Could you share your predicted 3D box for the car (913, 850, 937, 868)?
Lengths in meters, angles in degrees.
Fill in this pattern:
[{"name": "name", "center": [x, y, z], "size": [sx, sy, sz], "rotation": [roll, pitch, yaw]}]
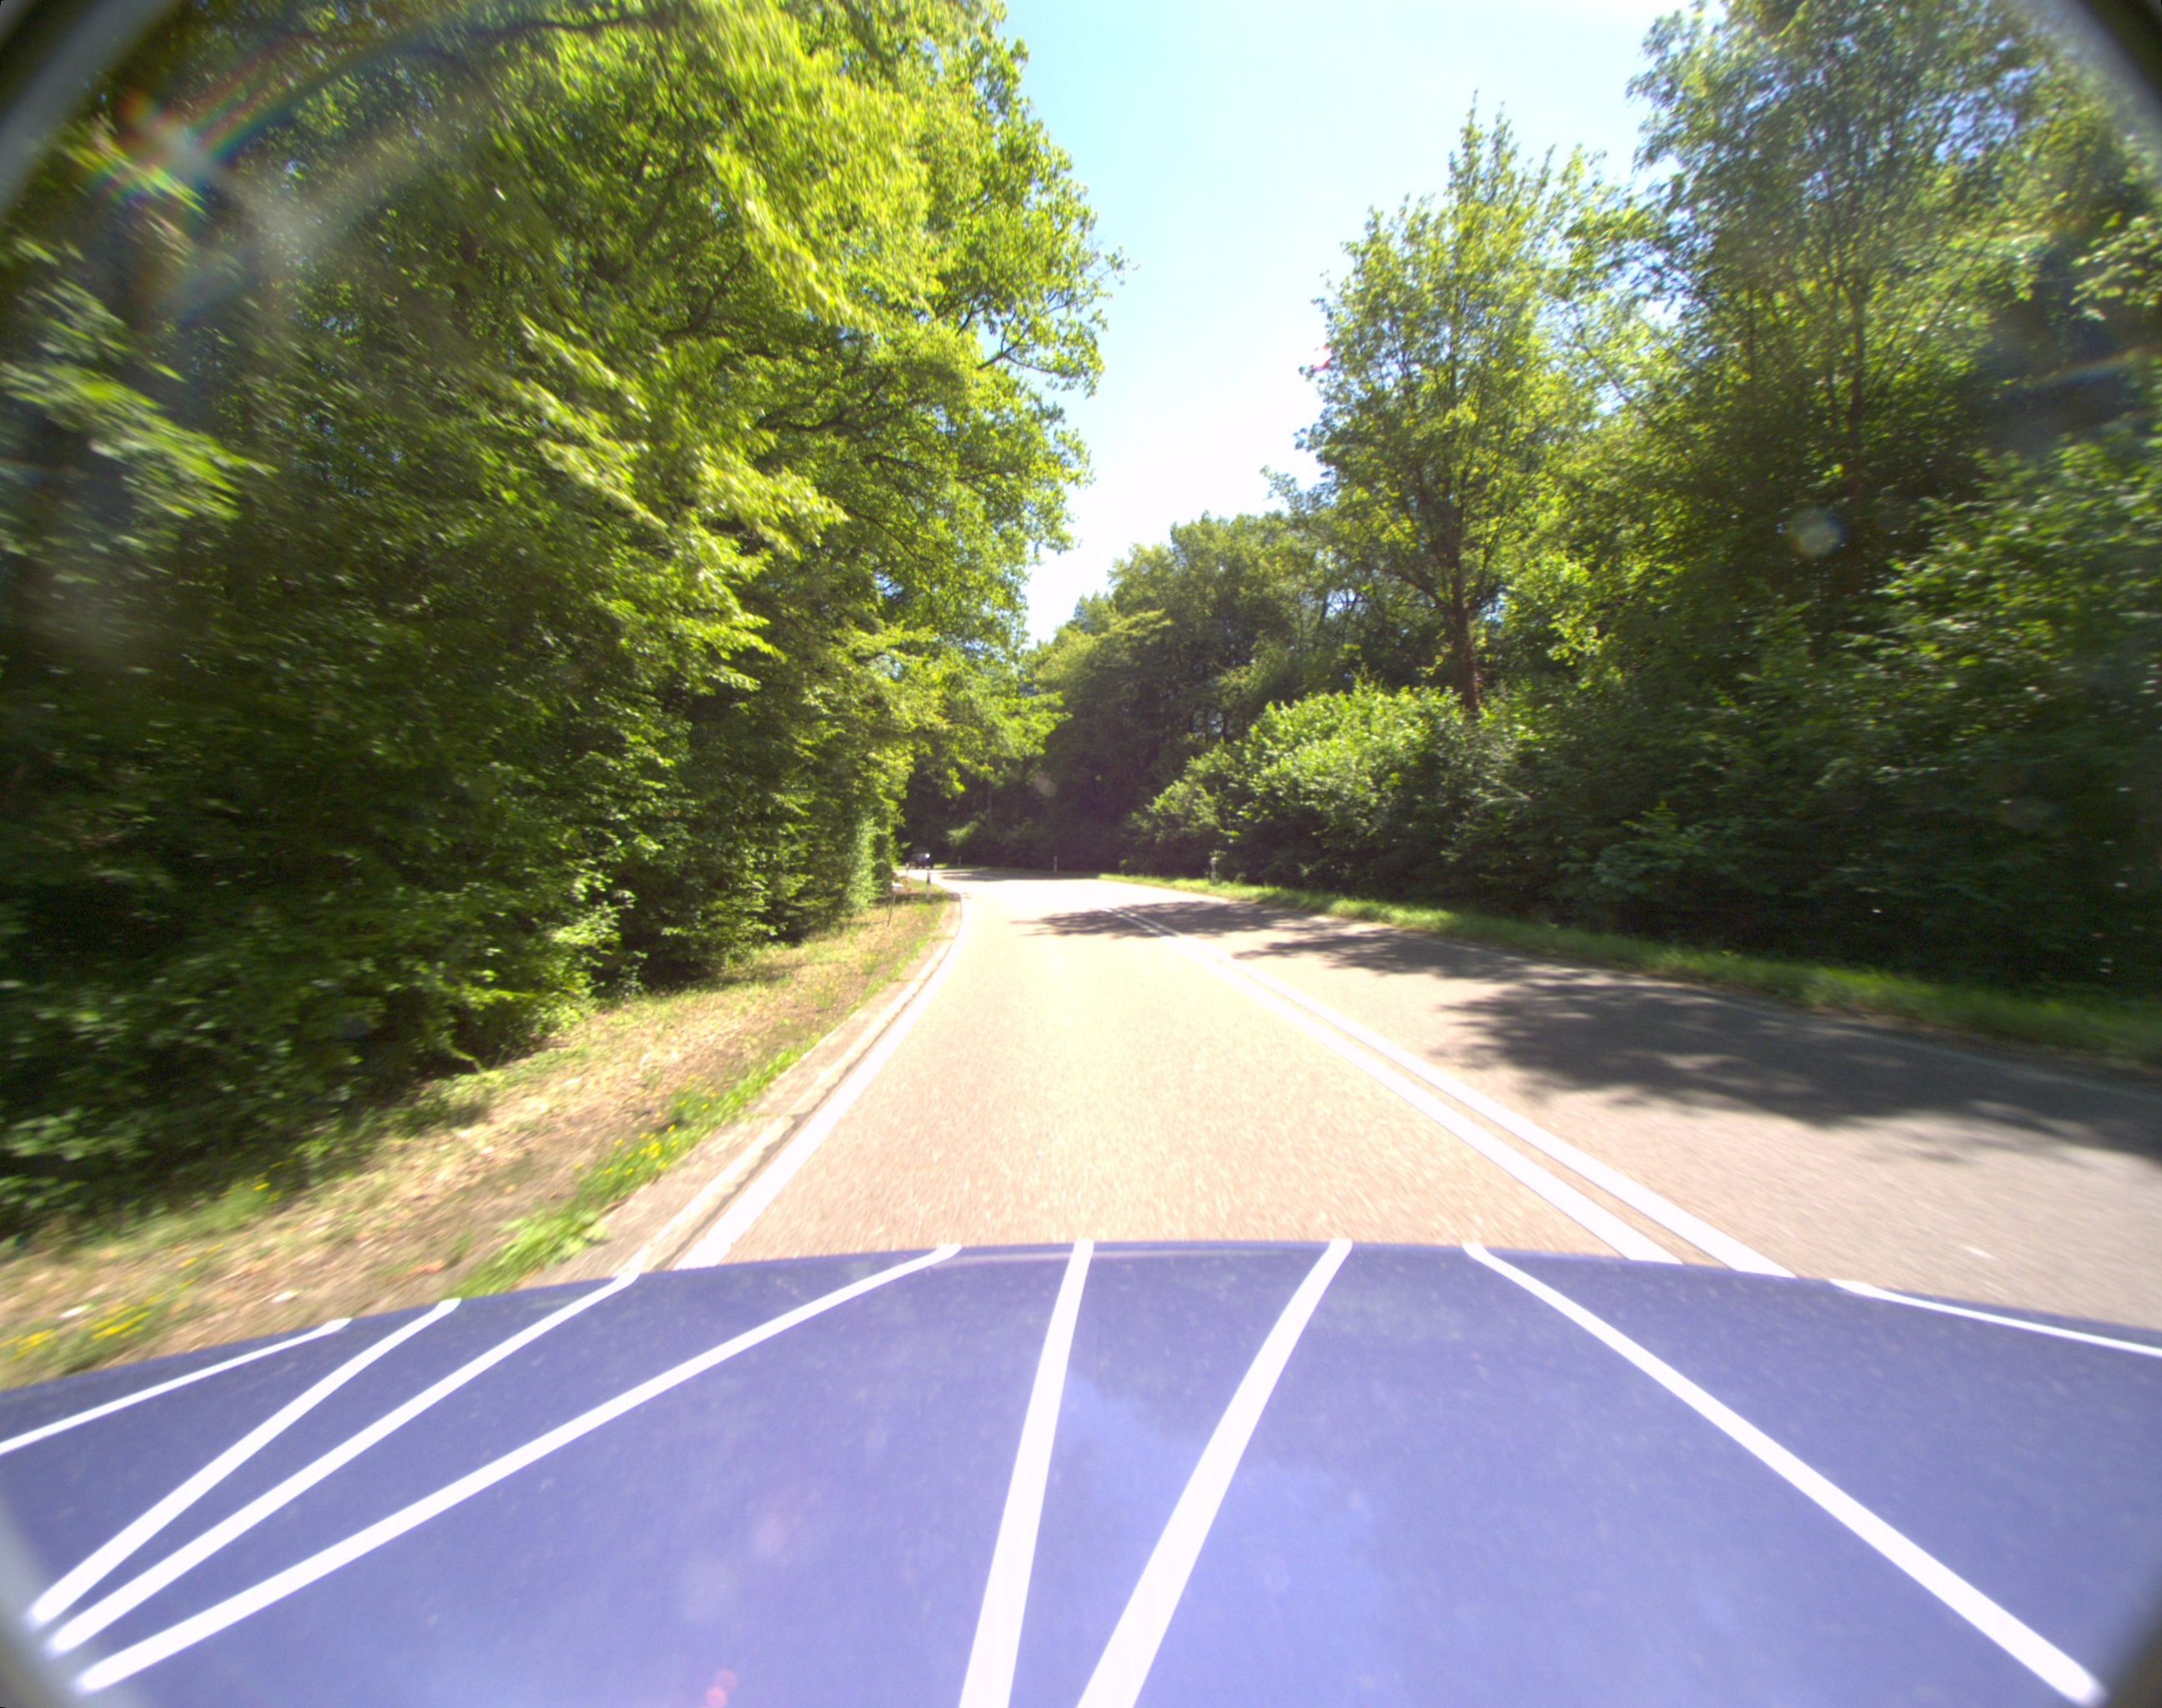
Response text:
[{"name": "car", "center": [-14.968, 0.465, 72.750], "size": [1.684, 1.565, 3.887], "rotation": [0, 1, -22]}]
